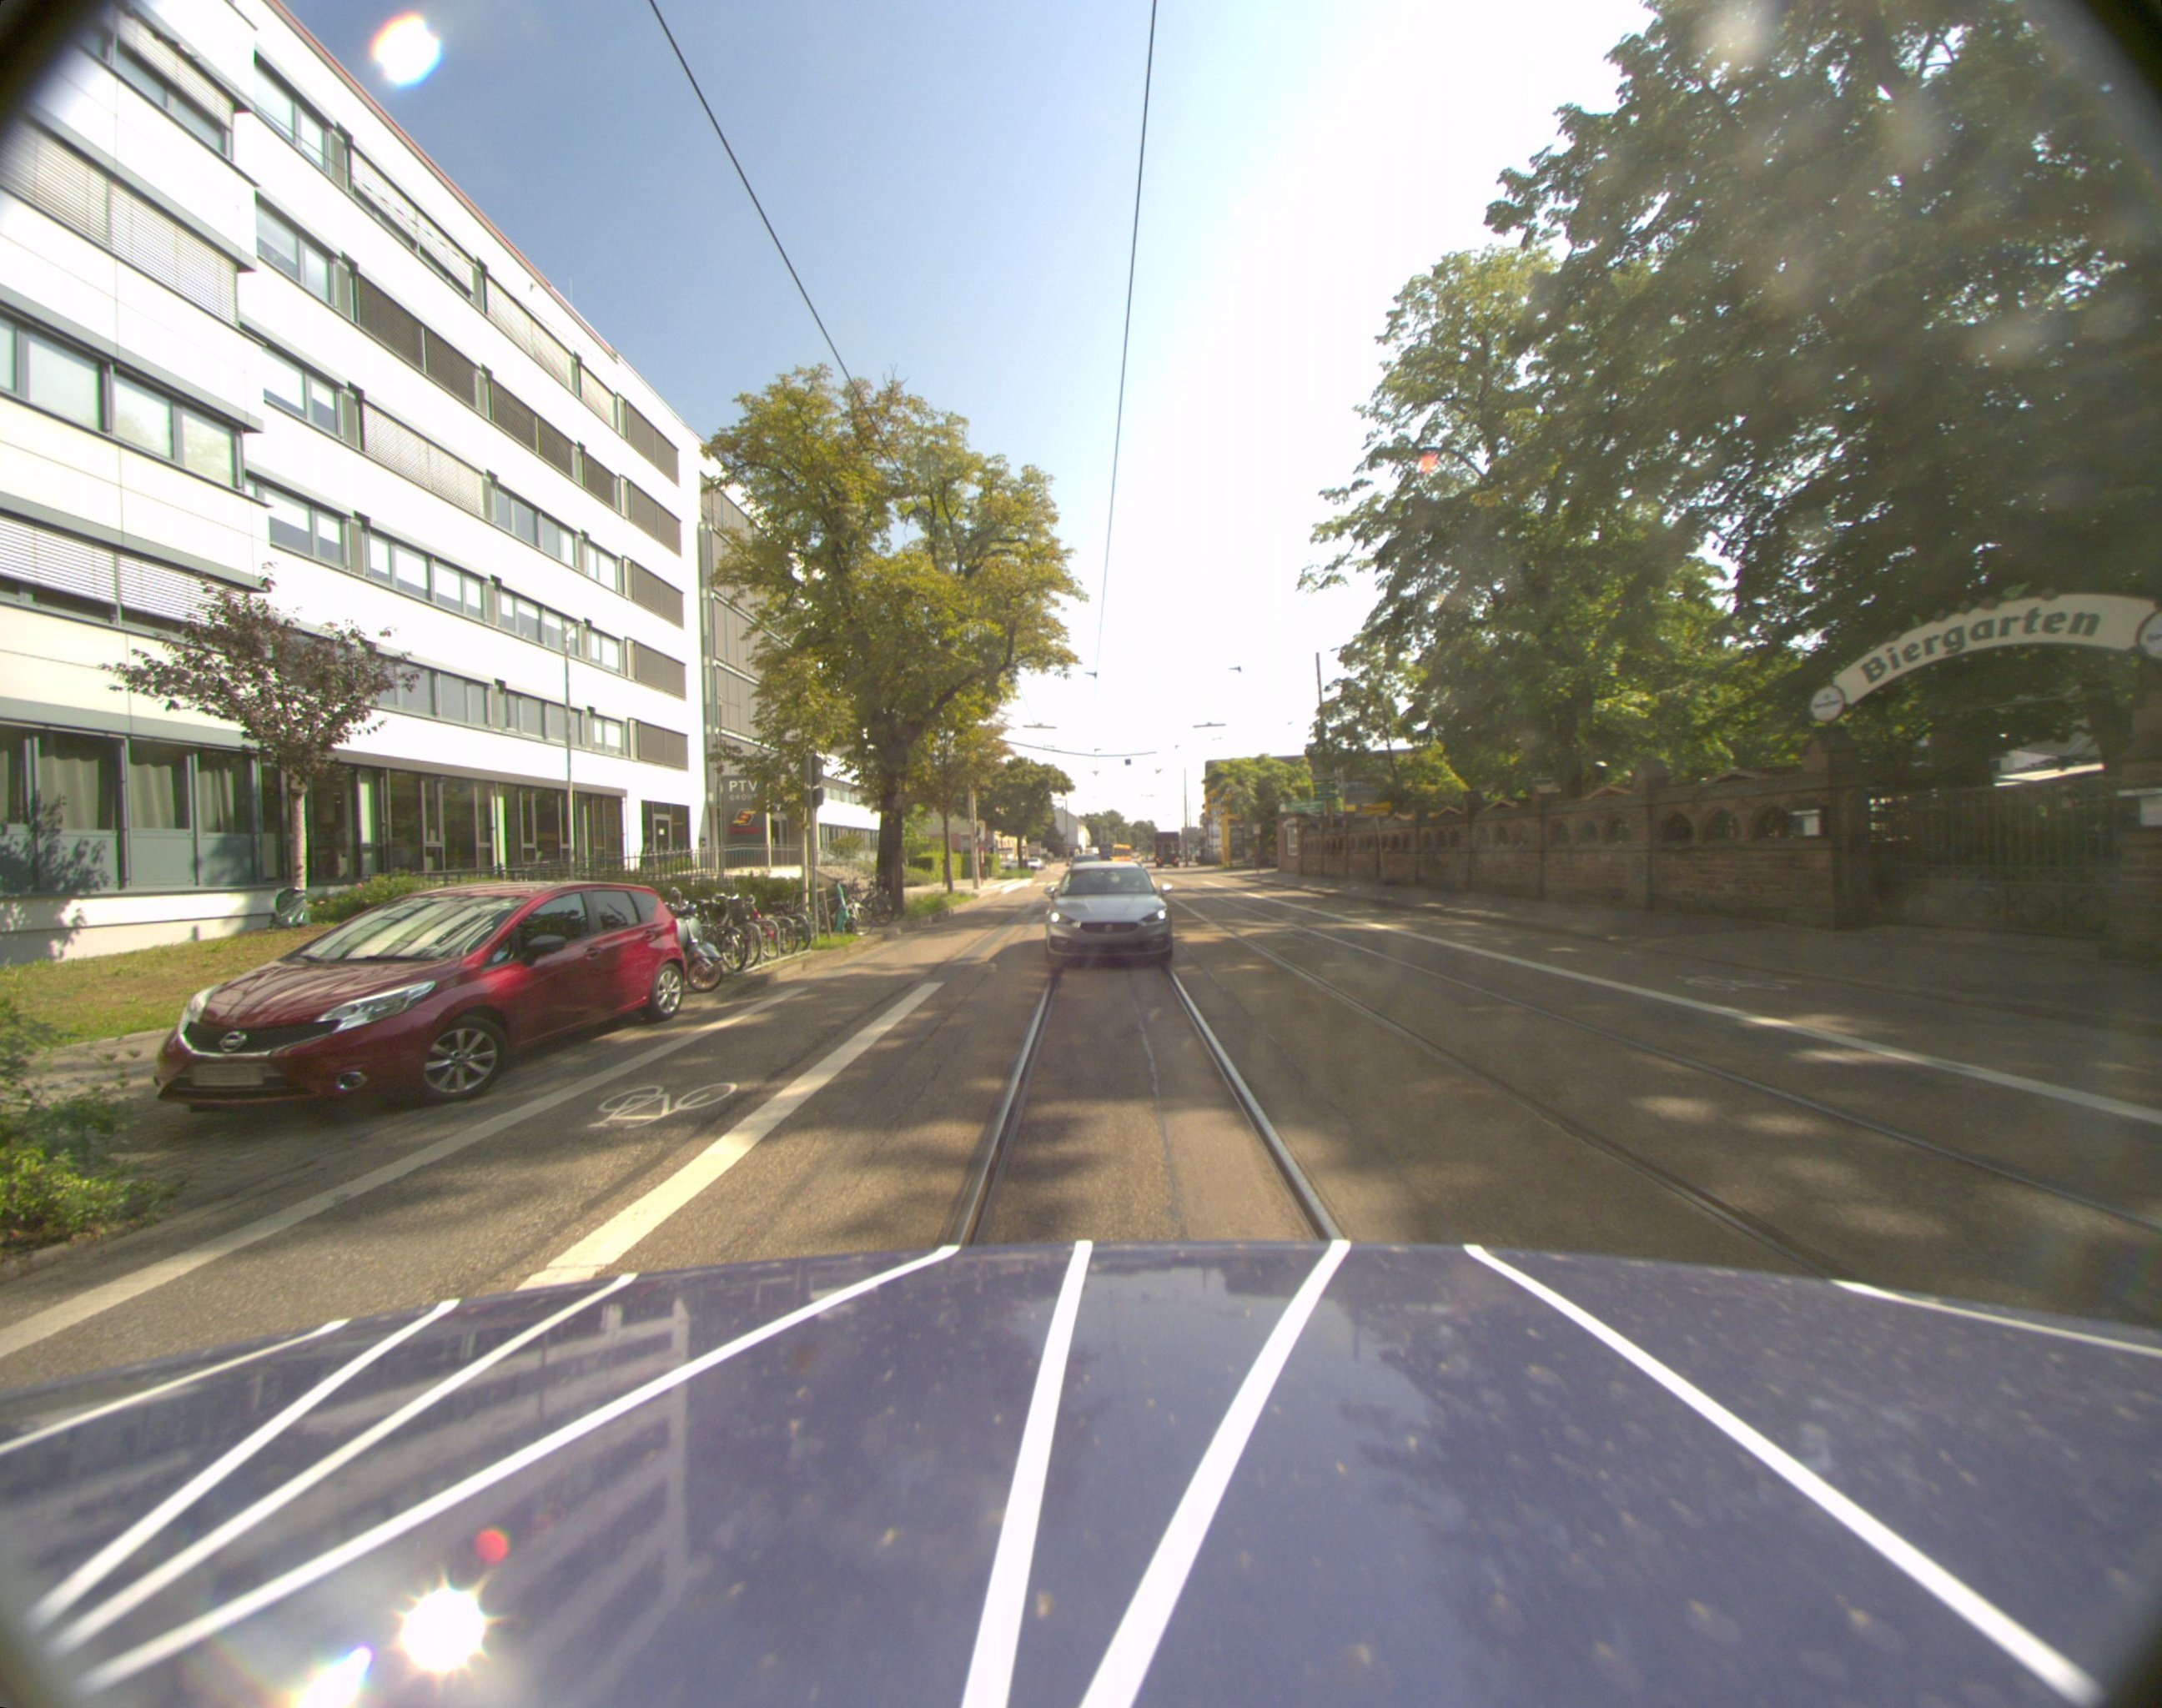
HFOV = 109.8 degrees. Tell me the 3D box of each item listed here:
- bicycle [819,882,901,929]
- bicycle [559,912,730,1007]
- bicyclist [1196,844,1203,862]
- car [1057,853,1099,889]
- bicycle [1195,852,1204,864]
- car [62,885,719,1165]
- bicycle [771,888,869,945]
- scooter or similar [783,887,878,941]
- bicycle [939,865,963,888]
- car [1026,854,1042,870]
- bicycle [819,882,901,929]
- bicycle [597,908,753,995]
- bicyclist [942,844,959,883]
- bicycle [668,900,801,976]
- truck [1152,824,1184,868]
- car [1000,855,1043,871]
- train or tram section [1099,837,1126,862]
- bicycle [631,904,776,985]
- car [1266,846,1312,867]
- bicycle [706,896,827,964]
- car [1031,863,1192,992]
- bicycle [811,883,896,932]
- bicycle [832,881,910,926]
[{"bbox_3d":[-5.259,1.226,18.138,1.775,1.065,0.540,-1,1,0],"label":"bicycle"},{"bbox_3d":[-5.352,1.290,9.373,1.775,1.065,0.540,-1,1,0],"label":"bicycle"},{"bbox_3d":[12.986,-0.128,83.288,0.642,1.918,1.176,-2,1,12],"label":"bicyclist"},{"bbox_3d":[-0.089,0.760,35.863,1.834,1.543,4.033,-2,0,1],"label":"car"},{"bbox_3d":[13.015,0.415,83.326,0.787,1.233,2.035,-2,0,12],"label":"bicycle"},{"bbox_3d":[-5.141,1.114,6.669,1.760,1.453,4.274,-1,0,1],"label":"car"},{"bbox_3d":[-5.242,1.245,15.308,1.775,1.065,0.540,-1,1,0],"label":"bicycle"},{"bbox_3d":[-5.222,1.240,15.903,1.775,1.065,0.540,-1,1,0],"label":"scooter or similar"},{"bbox_3d":[-6.832,1.153,39.835,1.139,1.118,2.534,-2,1,-11],"label":"bicycle"},{"bbox_3d":[-6.010,0.980,97.630,1.960,1.910,4.552,-2,0,-3],"label":"car"},{"bbox_3d":[-5.259,1.226,18.138,1.775,1.065,0.540,-1,1,0],"label":"bicycle"},{"bbox_3d":[-5.395,1.286,10.148,1.775,1.065,0.540,-1,1,0],"label":"bicycle"},{"bbox_3d":[-6.823,0.481,39.733,0.783,2.002,1.273,-2,1,-12],"label":"bicyclist"},{"bbox_3d":[-5.281,1.271,11.631,1.775,1.065,0.540,-1,1,0],"label":"bicycle"},{"bbox_3d":[10.220,-0.922,87.898,3.171,4.427,16.848,-2,0,7],"label":"truck"},{"bbox_3d":[-6.506,0.967,83.611,4.552,1.506,1.960,-2,1,-4],"label":"car"},{"bbox_3d":[5.432,-0.826,130.134,4.111,3.711,24.380,-2,0,3],"label":"train or tram section"},{"bbox_3d":[-5.352,1.280,10.822,1.775,1.065,0.540,-1,1,0],"label":"bicycle"},{"bbox_3d":[15.970,0.153,58.184,1.932,1.452,4.536,-2,1,35],"label":"car"},{"bbox_3d":[-5.255,1.263,12.733,1.775,1.065,0.540,-1,1,0],"label":"bicycle"},{"bbox_3d":[0.411,0.929,11.737,1.928,1.465,4.817,-2,0,1],"label":"car"},{"bbox_3d":[-5.241,1.230,17.537,1.775,1.065,0.540,-1,1,0],"label":"bicycle"},{"bbox_3d":[-5.195,1.219,18.833,1.775,1.065,0.540,-1,1,0],"label":"bicycle"}]
